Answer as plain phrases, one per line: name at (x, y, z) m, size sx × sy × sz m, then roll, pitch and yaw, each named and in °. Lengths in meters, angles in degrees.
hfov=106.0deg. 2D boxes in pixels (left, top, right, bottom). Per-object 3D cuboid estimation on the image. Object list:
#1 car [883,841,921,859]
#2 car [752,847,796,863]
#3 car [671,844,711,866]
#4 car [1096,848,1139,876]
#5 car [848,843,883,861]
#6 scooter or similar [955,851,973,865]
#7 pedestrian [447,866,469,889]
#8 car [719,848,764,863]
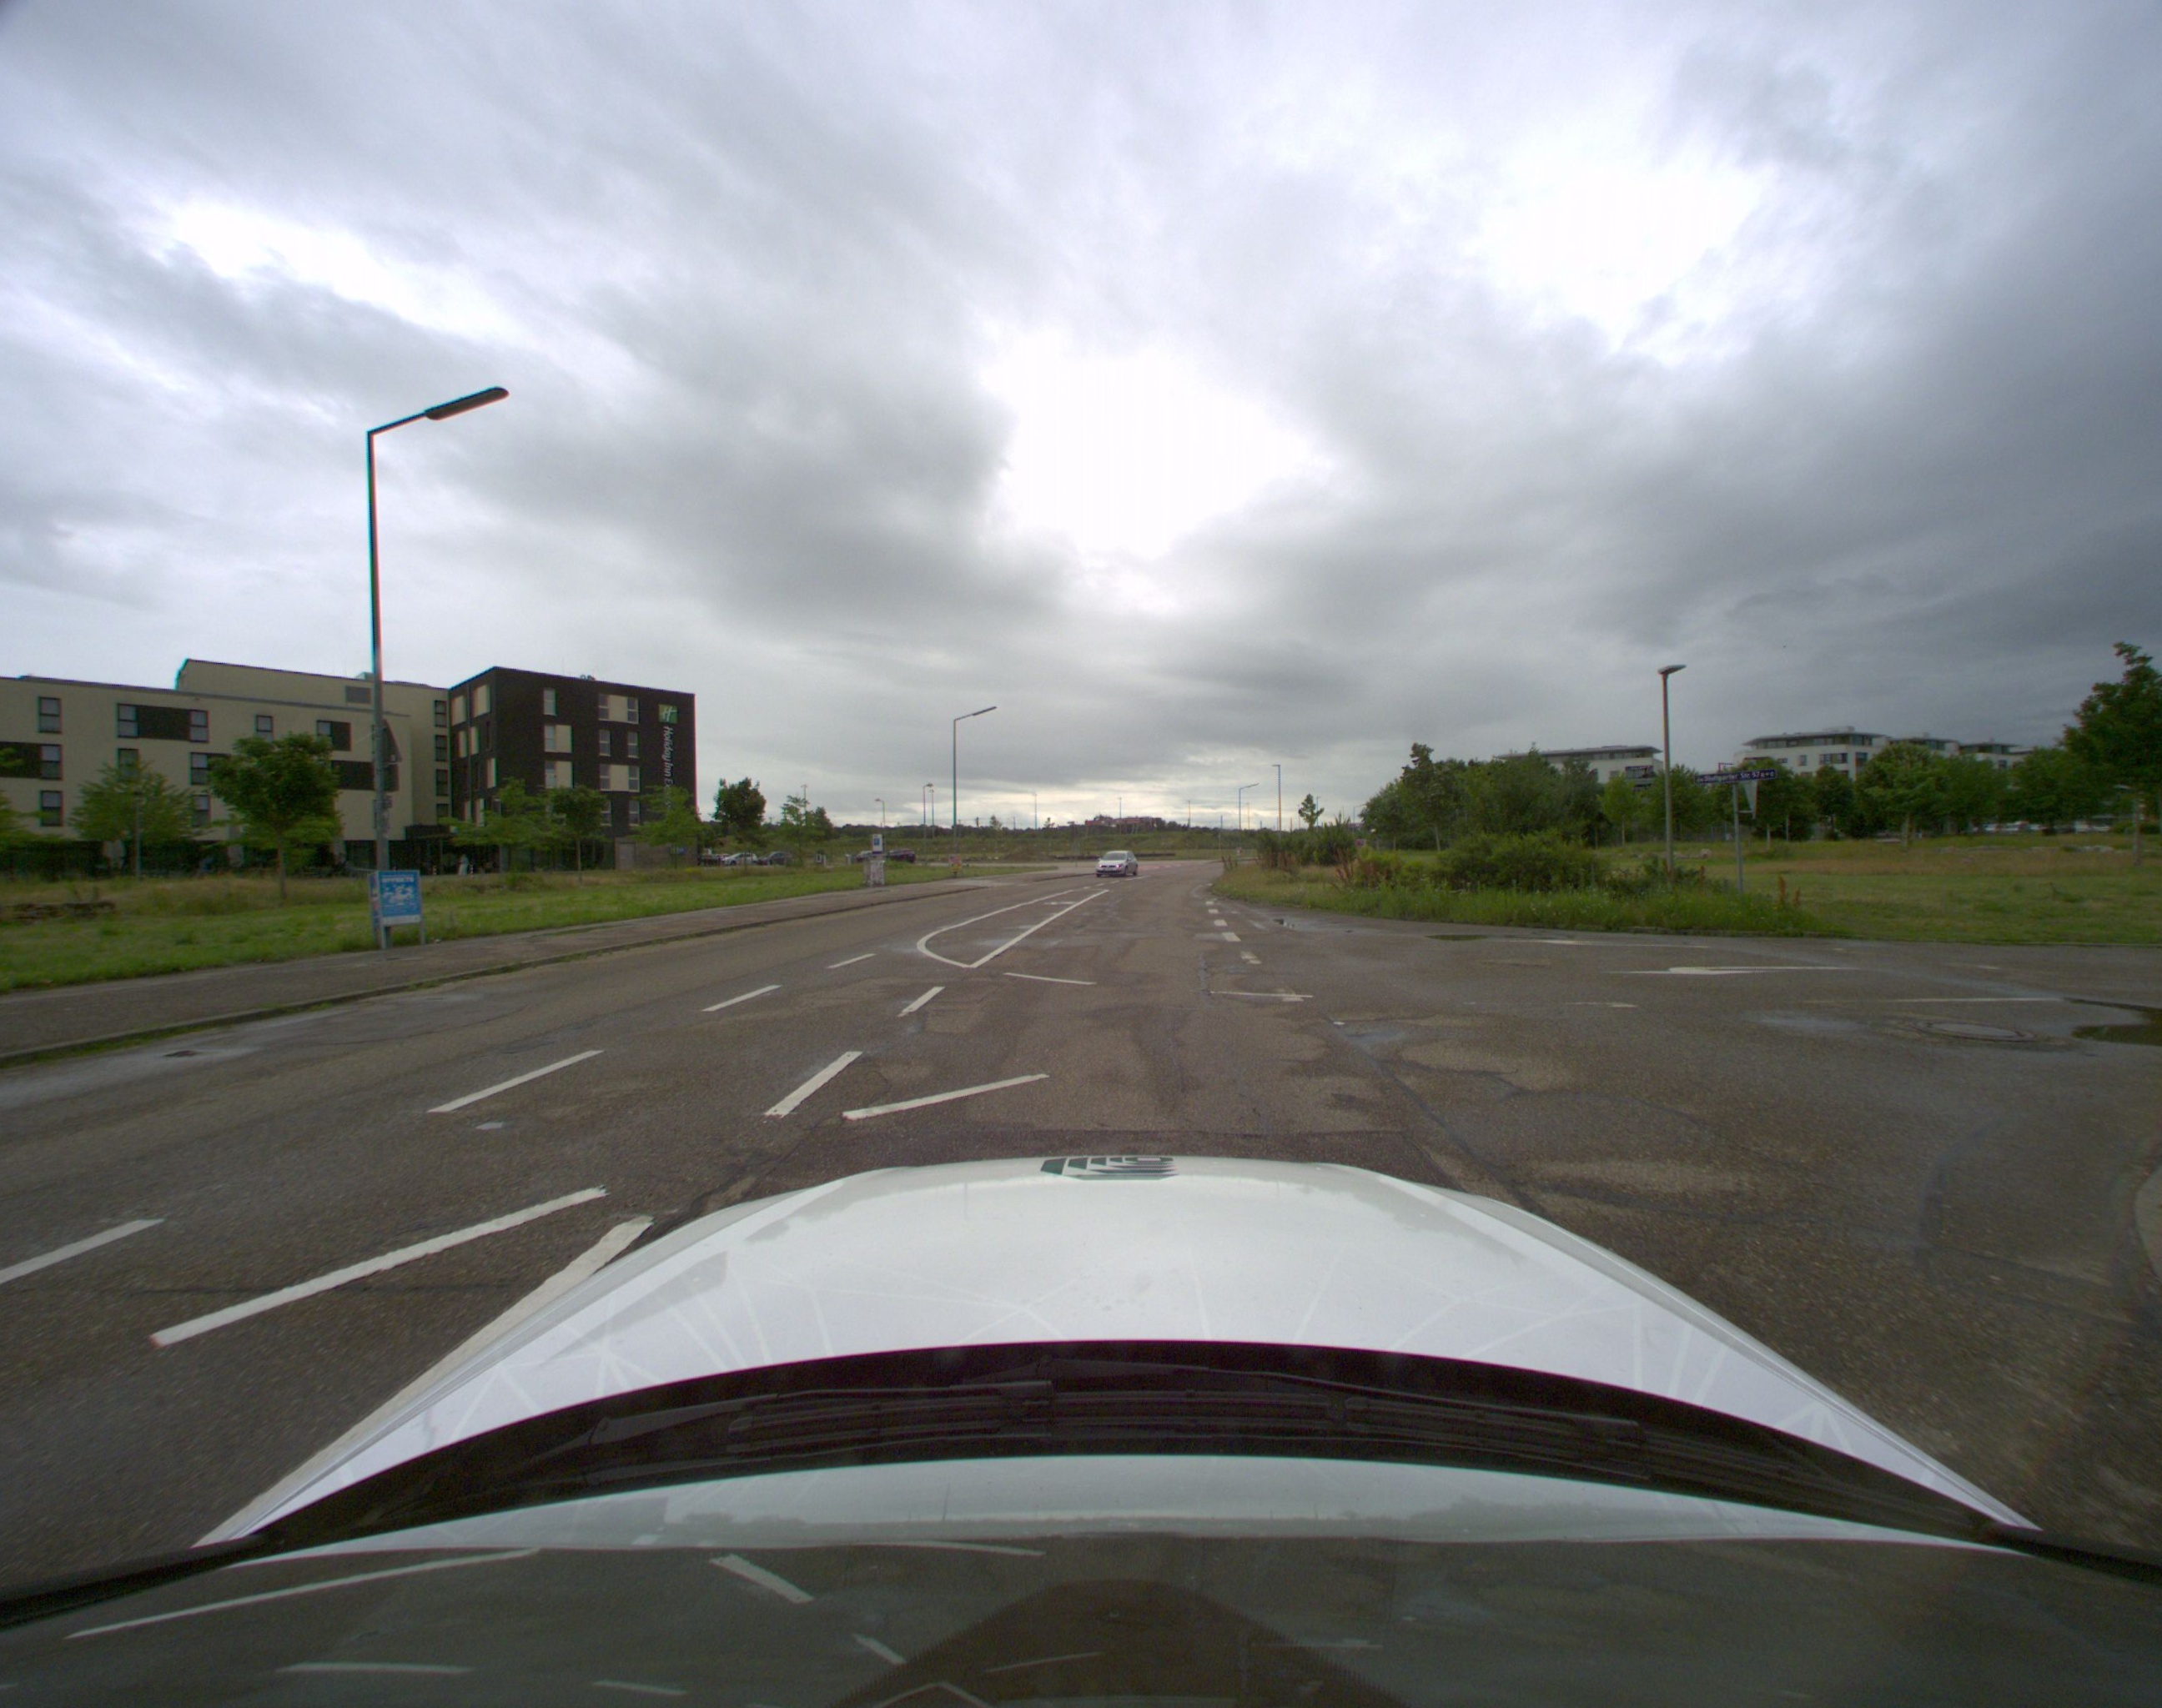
car at (-19.657, -0.423, 89.225) m, size 3.949 × 1.822 × 2.013 m, roll 0°, pitch 2°, yaw 39°
car at (-32.162, 0.086, 85.412) m, size 1.676 × 1.442 × 4.026 m, roll 0°, pitch 2°, yaw 37°
car at (-56.915, 0.120, 118.734) m, size 6.492 × 2.956 × 2.732 m, roll 0°, pitch 2°, yaw 39°
car at (2.177, 0.427, 47.542) m, size 1.660 × 1.461 × 4.072 m, roll 1°, pitch 1°, yaw 14°
car at (-24.594, -0.259, 92.968) m, size 3.950 × 2.013 × 2.012 m, roll 0°, pitch 2°, yaw 44°
scooter or similar at (-10.020, 0.328, 69.676) m, size 1.452 × 1.168 × 0.573 m, roll 0°, pitch 0°, yaw 13°
pedestrian at (-45.464, 1.713, 59.433) m, size 0.942 × 1.570 × 0.880 m, roll -1°, pitch 1°, yaw 22°
car at (-37.607, 0.120, 90.311) m, size 1.974 × 1.517 × 4.180 m, roll 0°, pitch 2°, yaw 31°
